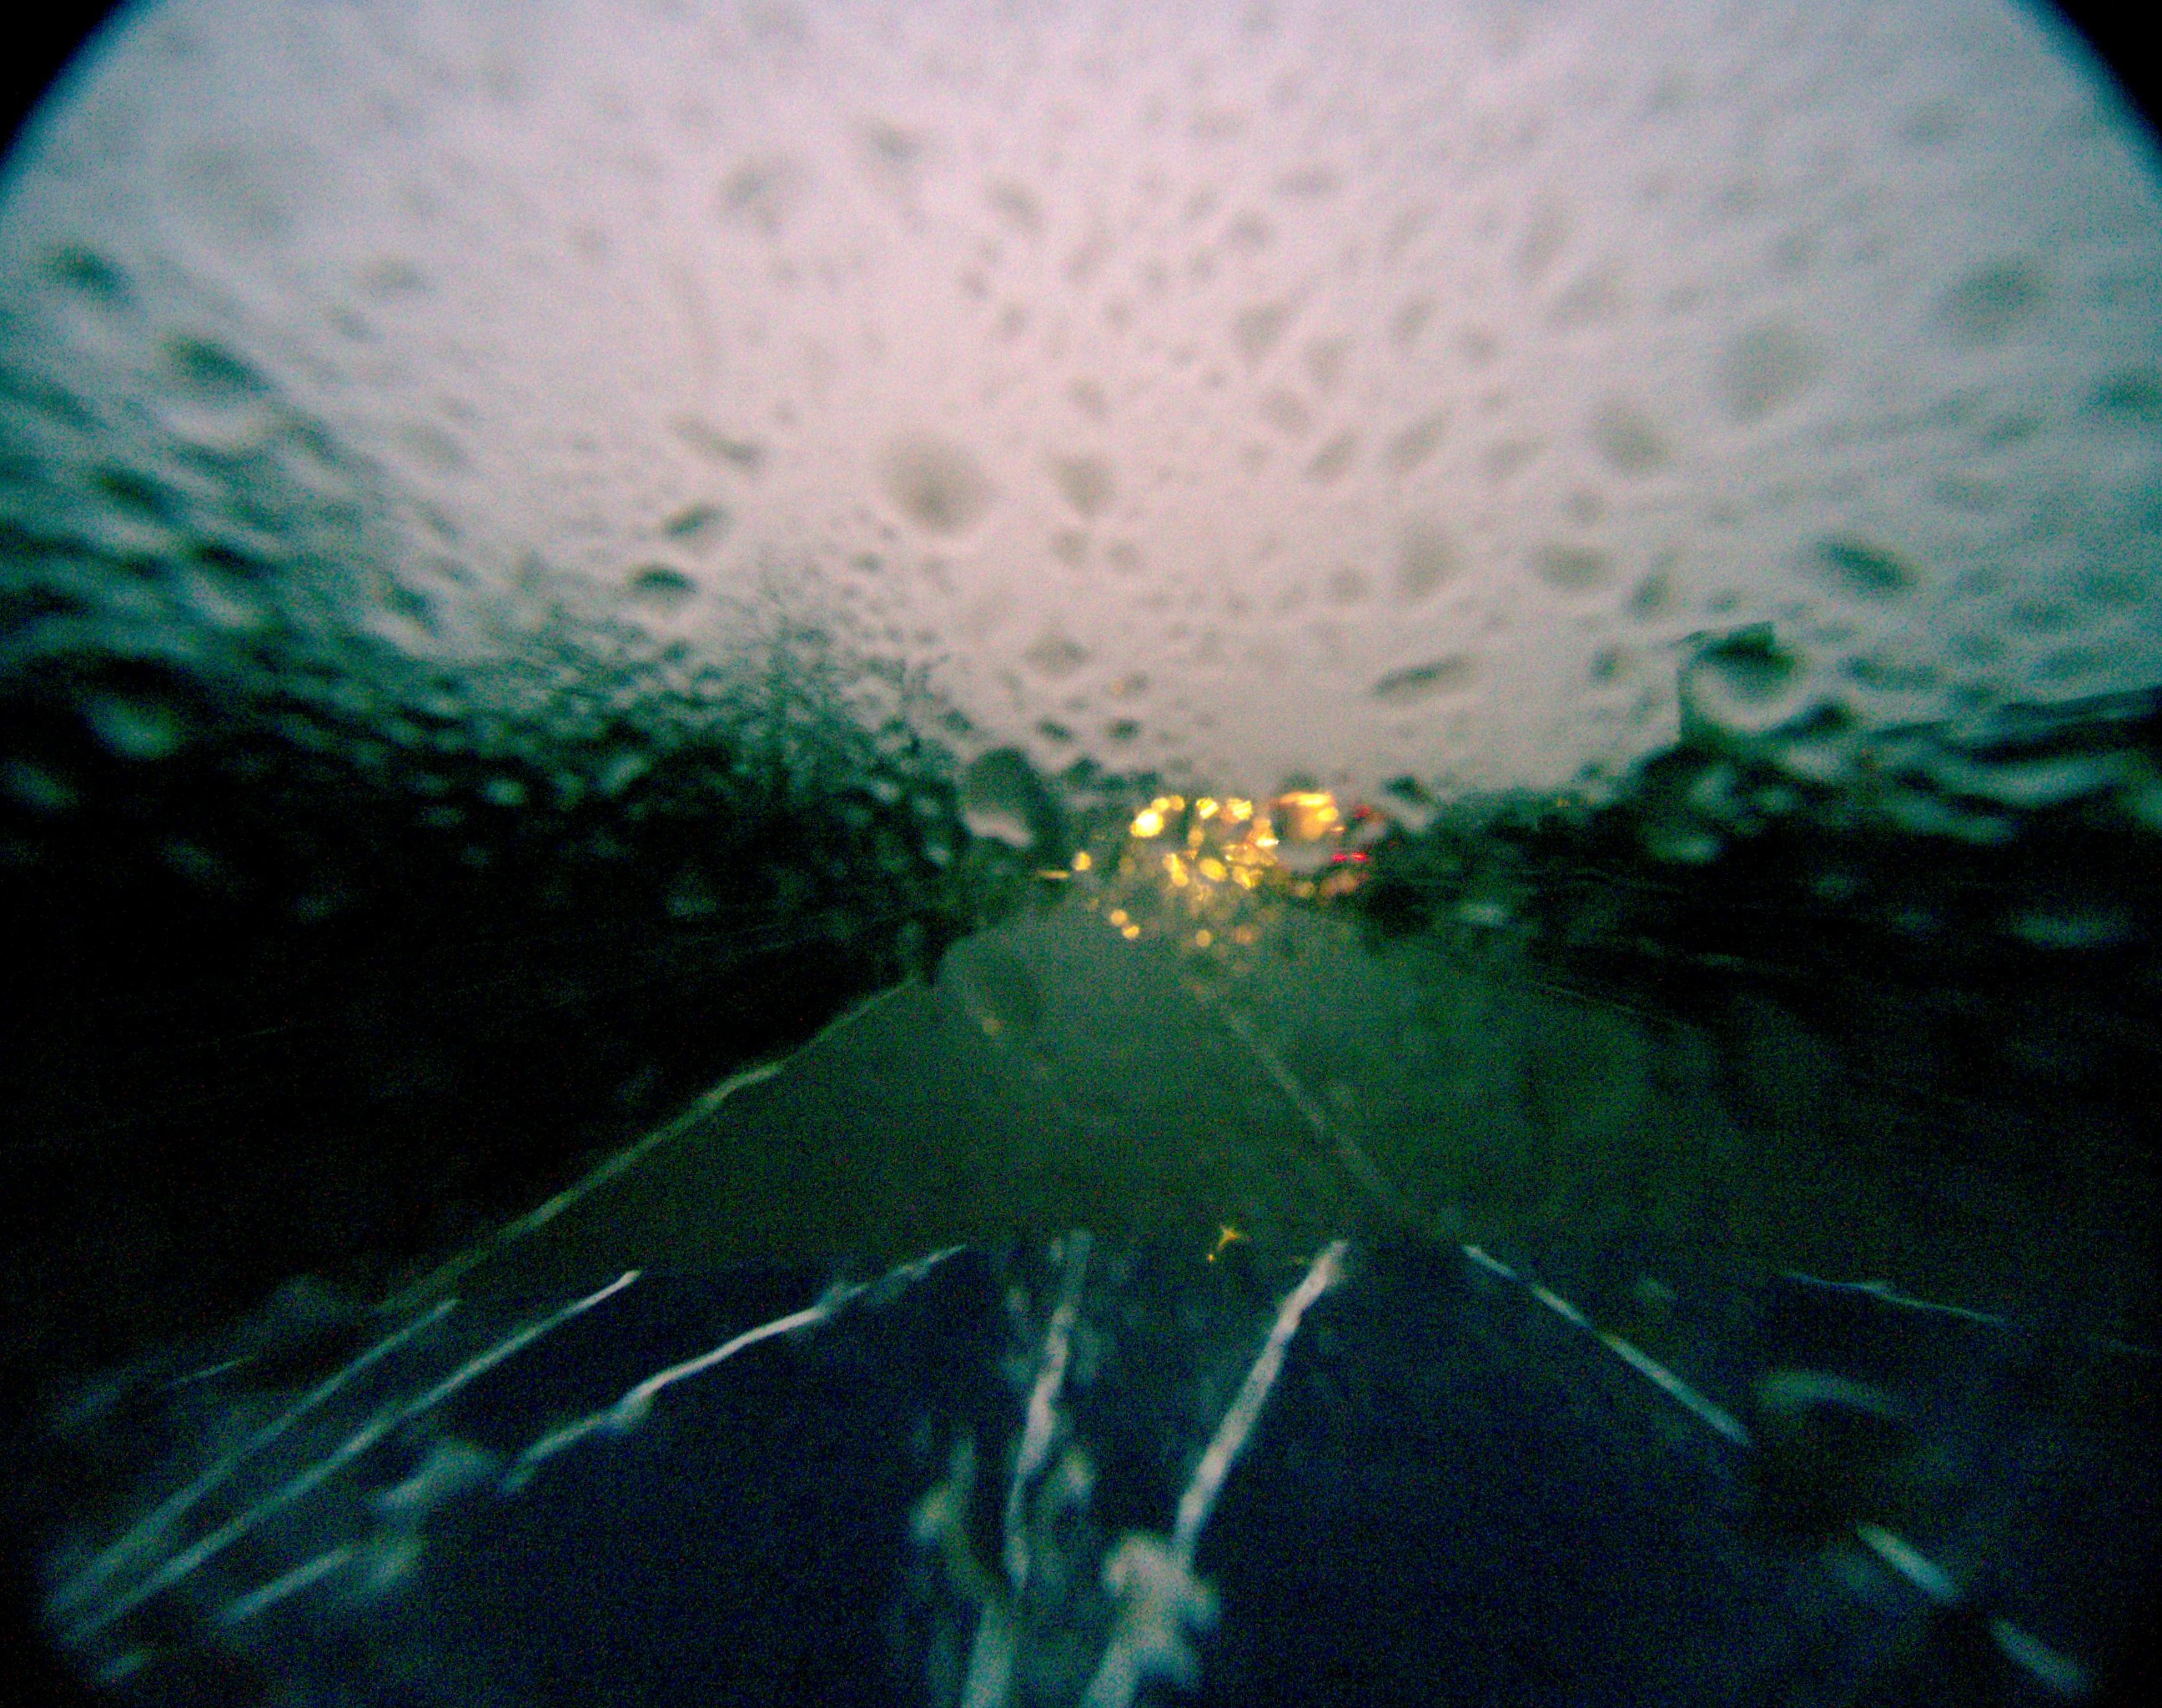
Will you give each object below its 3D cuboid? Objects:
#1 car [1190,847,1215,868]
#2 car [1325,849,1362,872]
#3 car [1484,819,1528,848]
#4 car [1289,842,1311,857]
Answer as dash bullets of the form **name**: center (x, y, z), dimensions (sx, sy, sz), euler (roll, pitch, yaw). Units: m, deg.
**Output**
- **car**: center (13.284, 0.410, 82.958), dimensions (1.996, 2.002, 4.004), euler (-5, 1, 18)
- **car**: center (18.027, 0.412, 52.236), dimensions (1.674, 1.412, 4.084), euler (-1, 0, 9)
- **car**: center (49.798, -2.348, 89.336), dimensions (3.195, 3.192, 9.952), euler (-1, 1, 21)
- **car**: center (25.792, -0.588, 89.749), dimensions (1.997, 1.663, 4.431), euler (-1, 0, 10)
